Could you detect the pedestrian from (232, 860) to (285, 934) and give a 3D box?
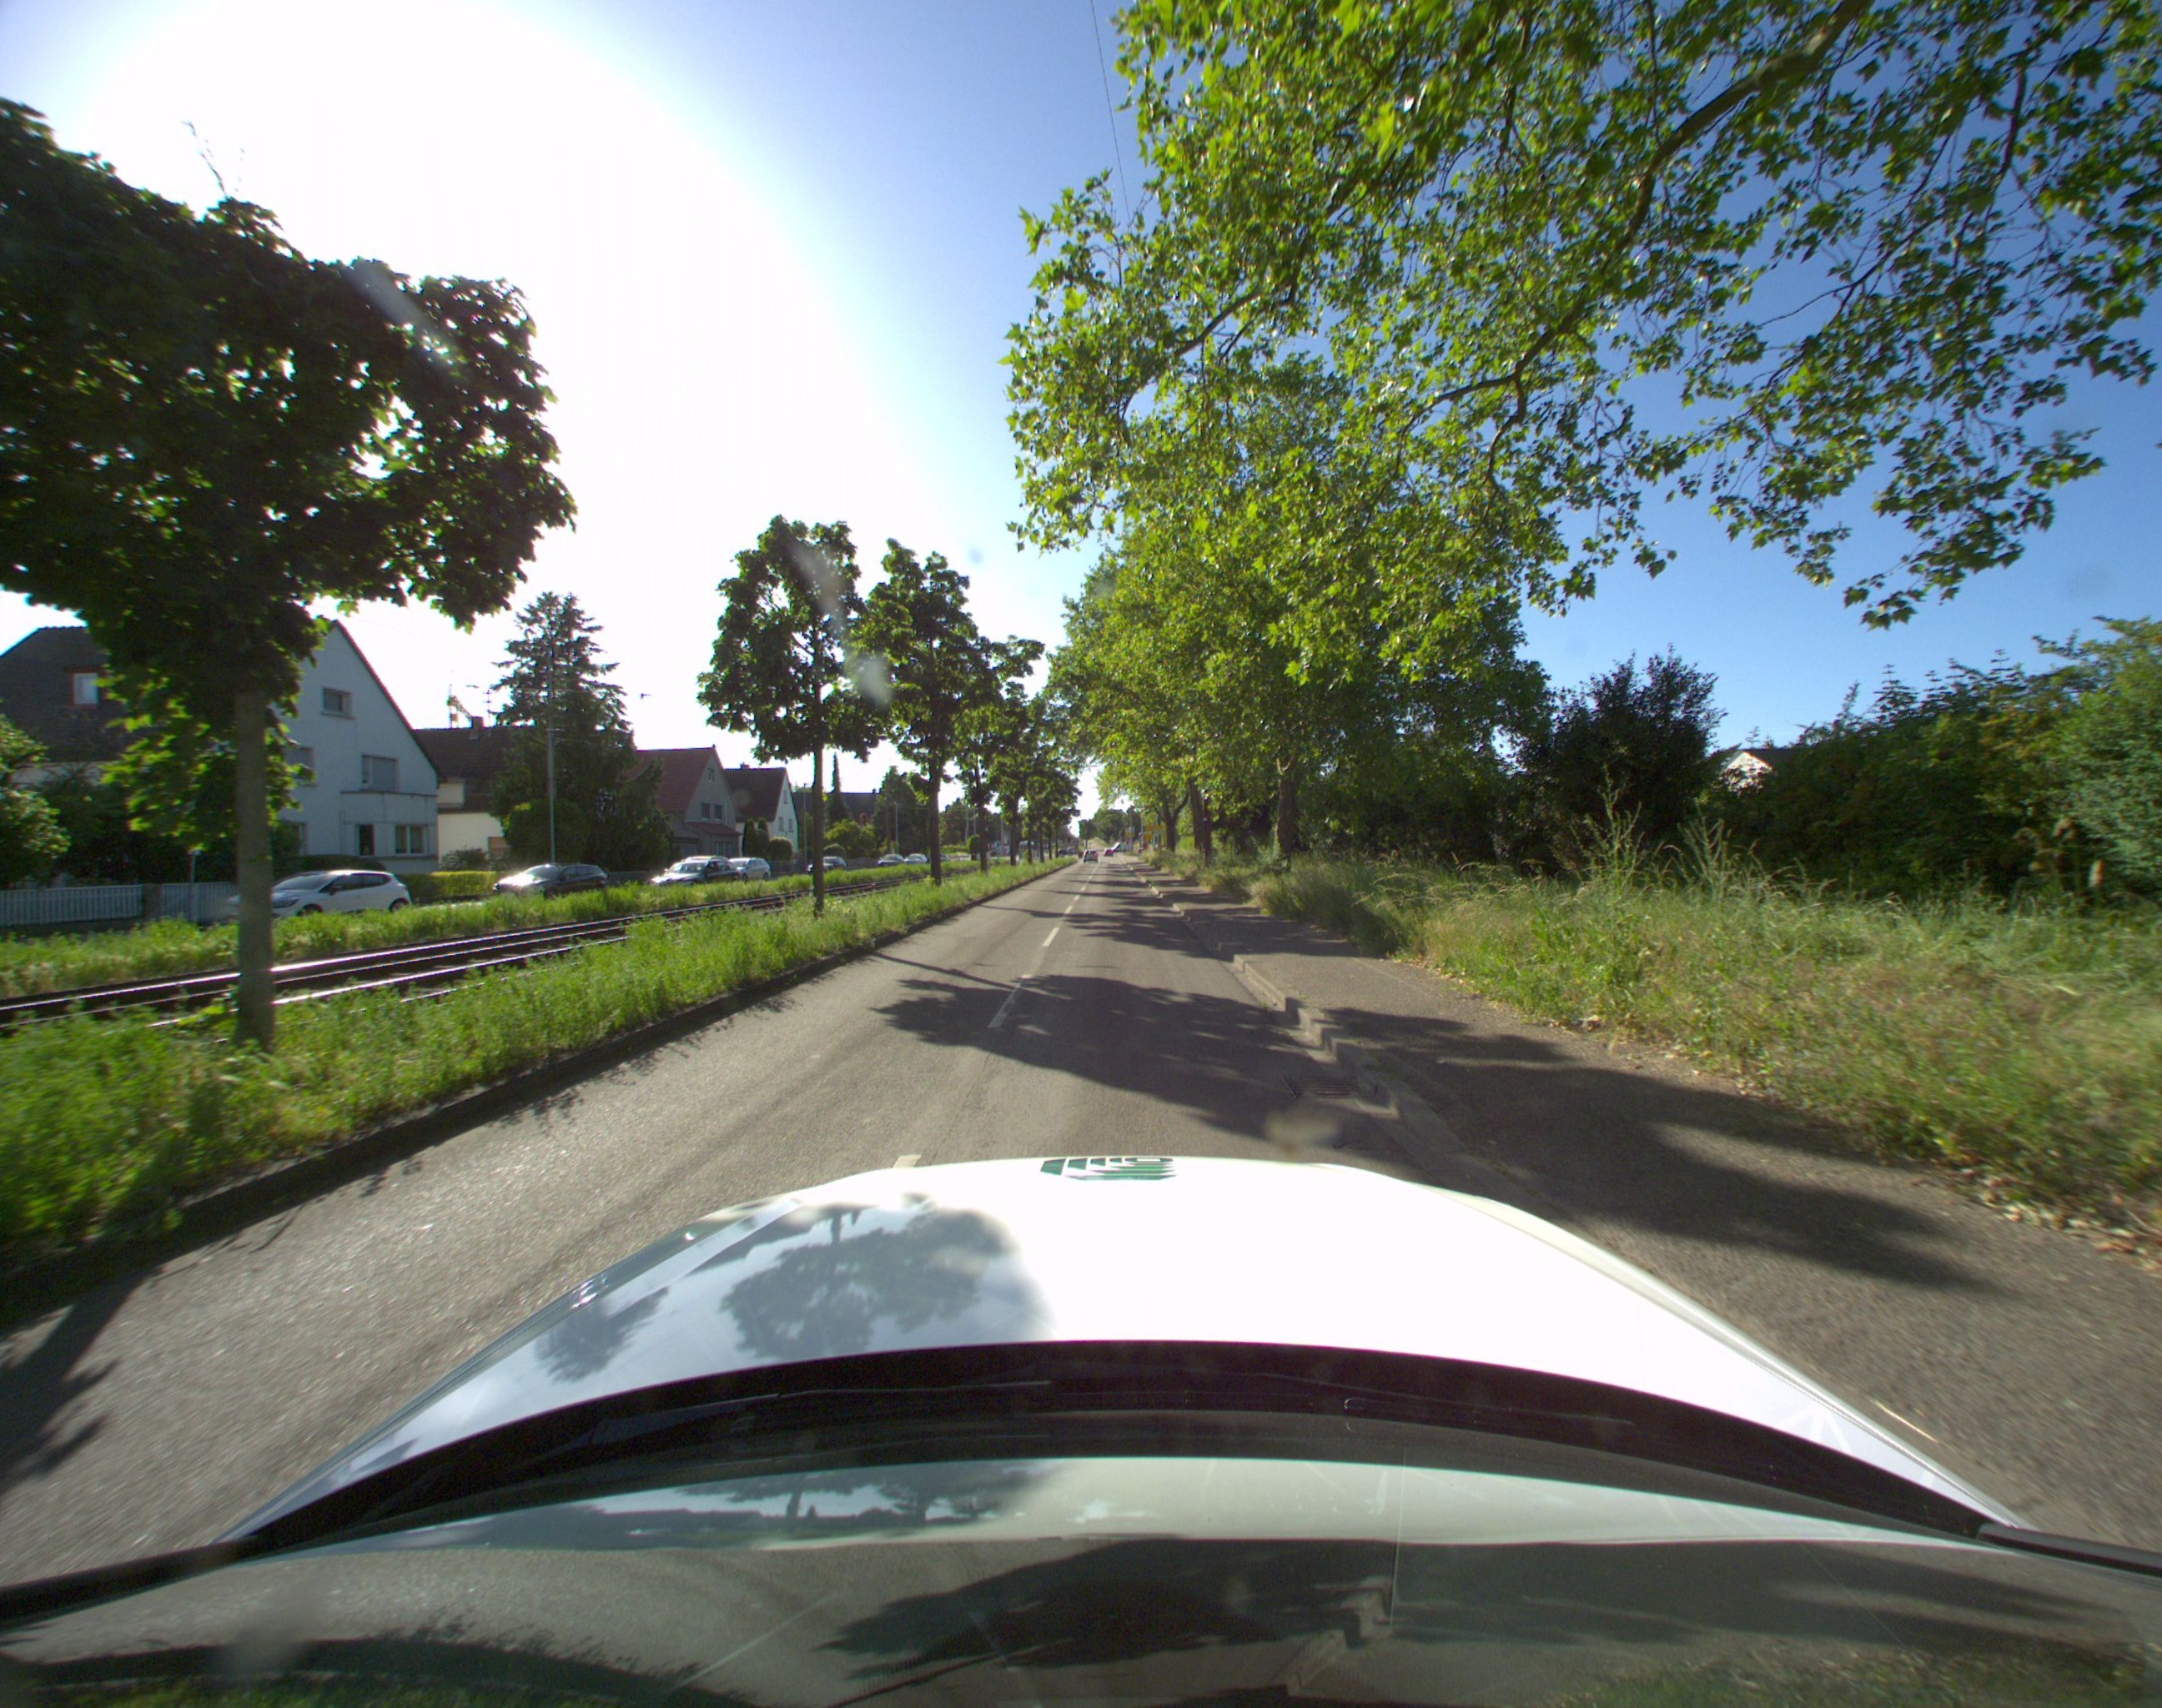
[{"bbox_3d":[-22.761,1.174,22.559,0.678,2.013,0.773,0,0,1],"label":"pedestrian"}]

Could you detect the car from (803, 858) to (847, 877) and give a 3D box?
[{"bbox_3d":[-19.122,0.971,61.070,1.853,1.369,4.229,0,0,2],"label":"car"}]

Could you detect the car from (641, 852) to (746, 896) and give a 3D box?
[{"bbox_3d":[-14.893,0.700,31.617,1.654,1.552,4.812,0,0,2],"label":"car"}]

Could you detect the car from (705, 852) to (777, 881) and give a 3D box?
[{"bbox_3d":[-19.567,0.668,47.071,1.986,1.545,4.783,0,0,2],"label":"car"}]

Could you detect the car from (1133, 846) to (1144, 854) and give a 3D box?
[{"bbox_3d":[11.143,-0.740,158.805,1.986,1.603,4.475,0,0,1],"label":"car"}]

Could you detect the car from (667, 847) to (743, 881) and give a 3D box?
[{"bbox_3d":[-19.386,0.482,42.214,1.741,1.650,4.557,0,0,2],"label":"car"}]

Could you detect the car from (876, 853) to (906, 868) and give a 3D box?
[{"bbox_3d":[-18.455,0.644,79.425,1.853,1.413,4.160,0,0,2],"label":"car"}]

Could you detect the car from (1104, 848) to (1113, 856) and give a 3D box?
[{"bbox_3d":[5.403,-0.330,159.068,1.785,1.559,4.229,0,0,2],"label":"car"}]

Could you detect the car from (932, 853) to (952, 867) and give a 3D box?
[{"bbox_3d":[-17.790,0.790,104.466,1.771,1.707,4.229,0,0,2],"label":"car"}]

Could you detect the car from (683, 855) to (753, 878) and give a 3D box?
[{"bbox_3d":[-24.851,0.861,55.866,3.903,1.452,1.889,0,2,1],"label":"car"}]

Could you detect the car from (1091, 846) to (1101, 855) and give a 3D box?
[{"bbox_3d":[3.027,-0.714,164.343,1.986,1.603,4.475,0,0,1],"label":"car"}]

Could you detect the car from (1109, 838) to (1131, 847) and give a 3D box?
[{"bbox_3d":[9.850,-2.956,206.420,5.277,2.354,1.848,0,0,-30],"label":"car"}]

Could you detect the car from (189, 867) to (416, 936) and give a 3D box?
[{"bbox_3d":[-20.313,1.165,21.557,1.853,1.542,4.229,0,0,2],"label":"car"}]

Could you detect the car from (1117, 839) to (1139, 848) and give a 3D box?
[{"bbox_3d":[11.378,-2.513,197.290,5.169,2.275,1.986,0,0,-23],"label":"car"}]

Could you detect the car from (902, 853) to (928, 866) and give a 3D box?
[{"bbox_3d":[-18.147,0.579,89.303,1.853,1.431,4.463,0,0,2],"label":"car"}]

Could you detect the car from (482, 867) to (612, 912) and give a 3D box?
[{"bbox_3d":[-19.806,1.276,30.481,1.723,1.466,4.604,0,0,2],"label":"car"}]

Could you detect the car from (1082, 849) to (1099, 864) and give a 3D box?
[{"bbox_3d":[1.124,0.270,91.297,1.853,1.601,4.229,0,0,2],"label":"car"}]
